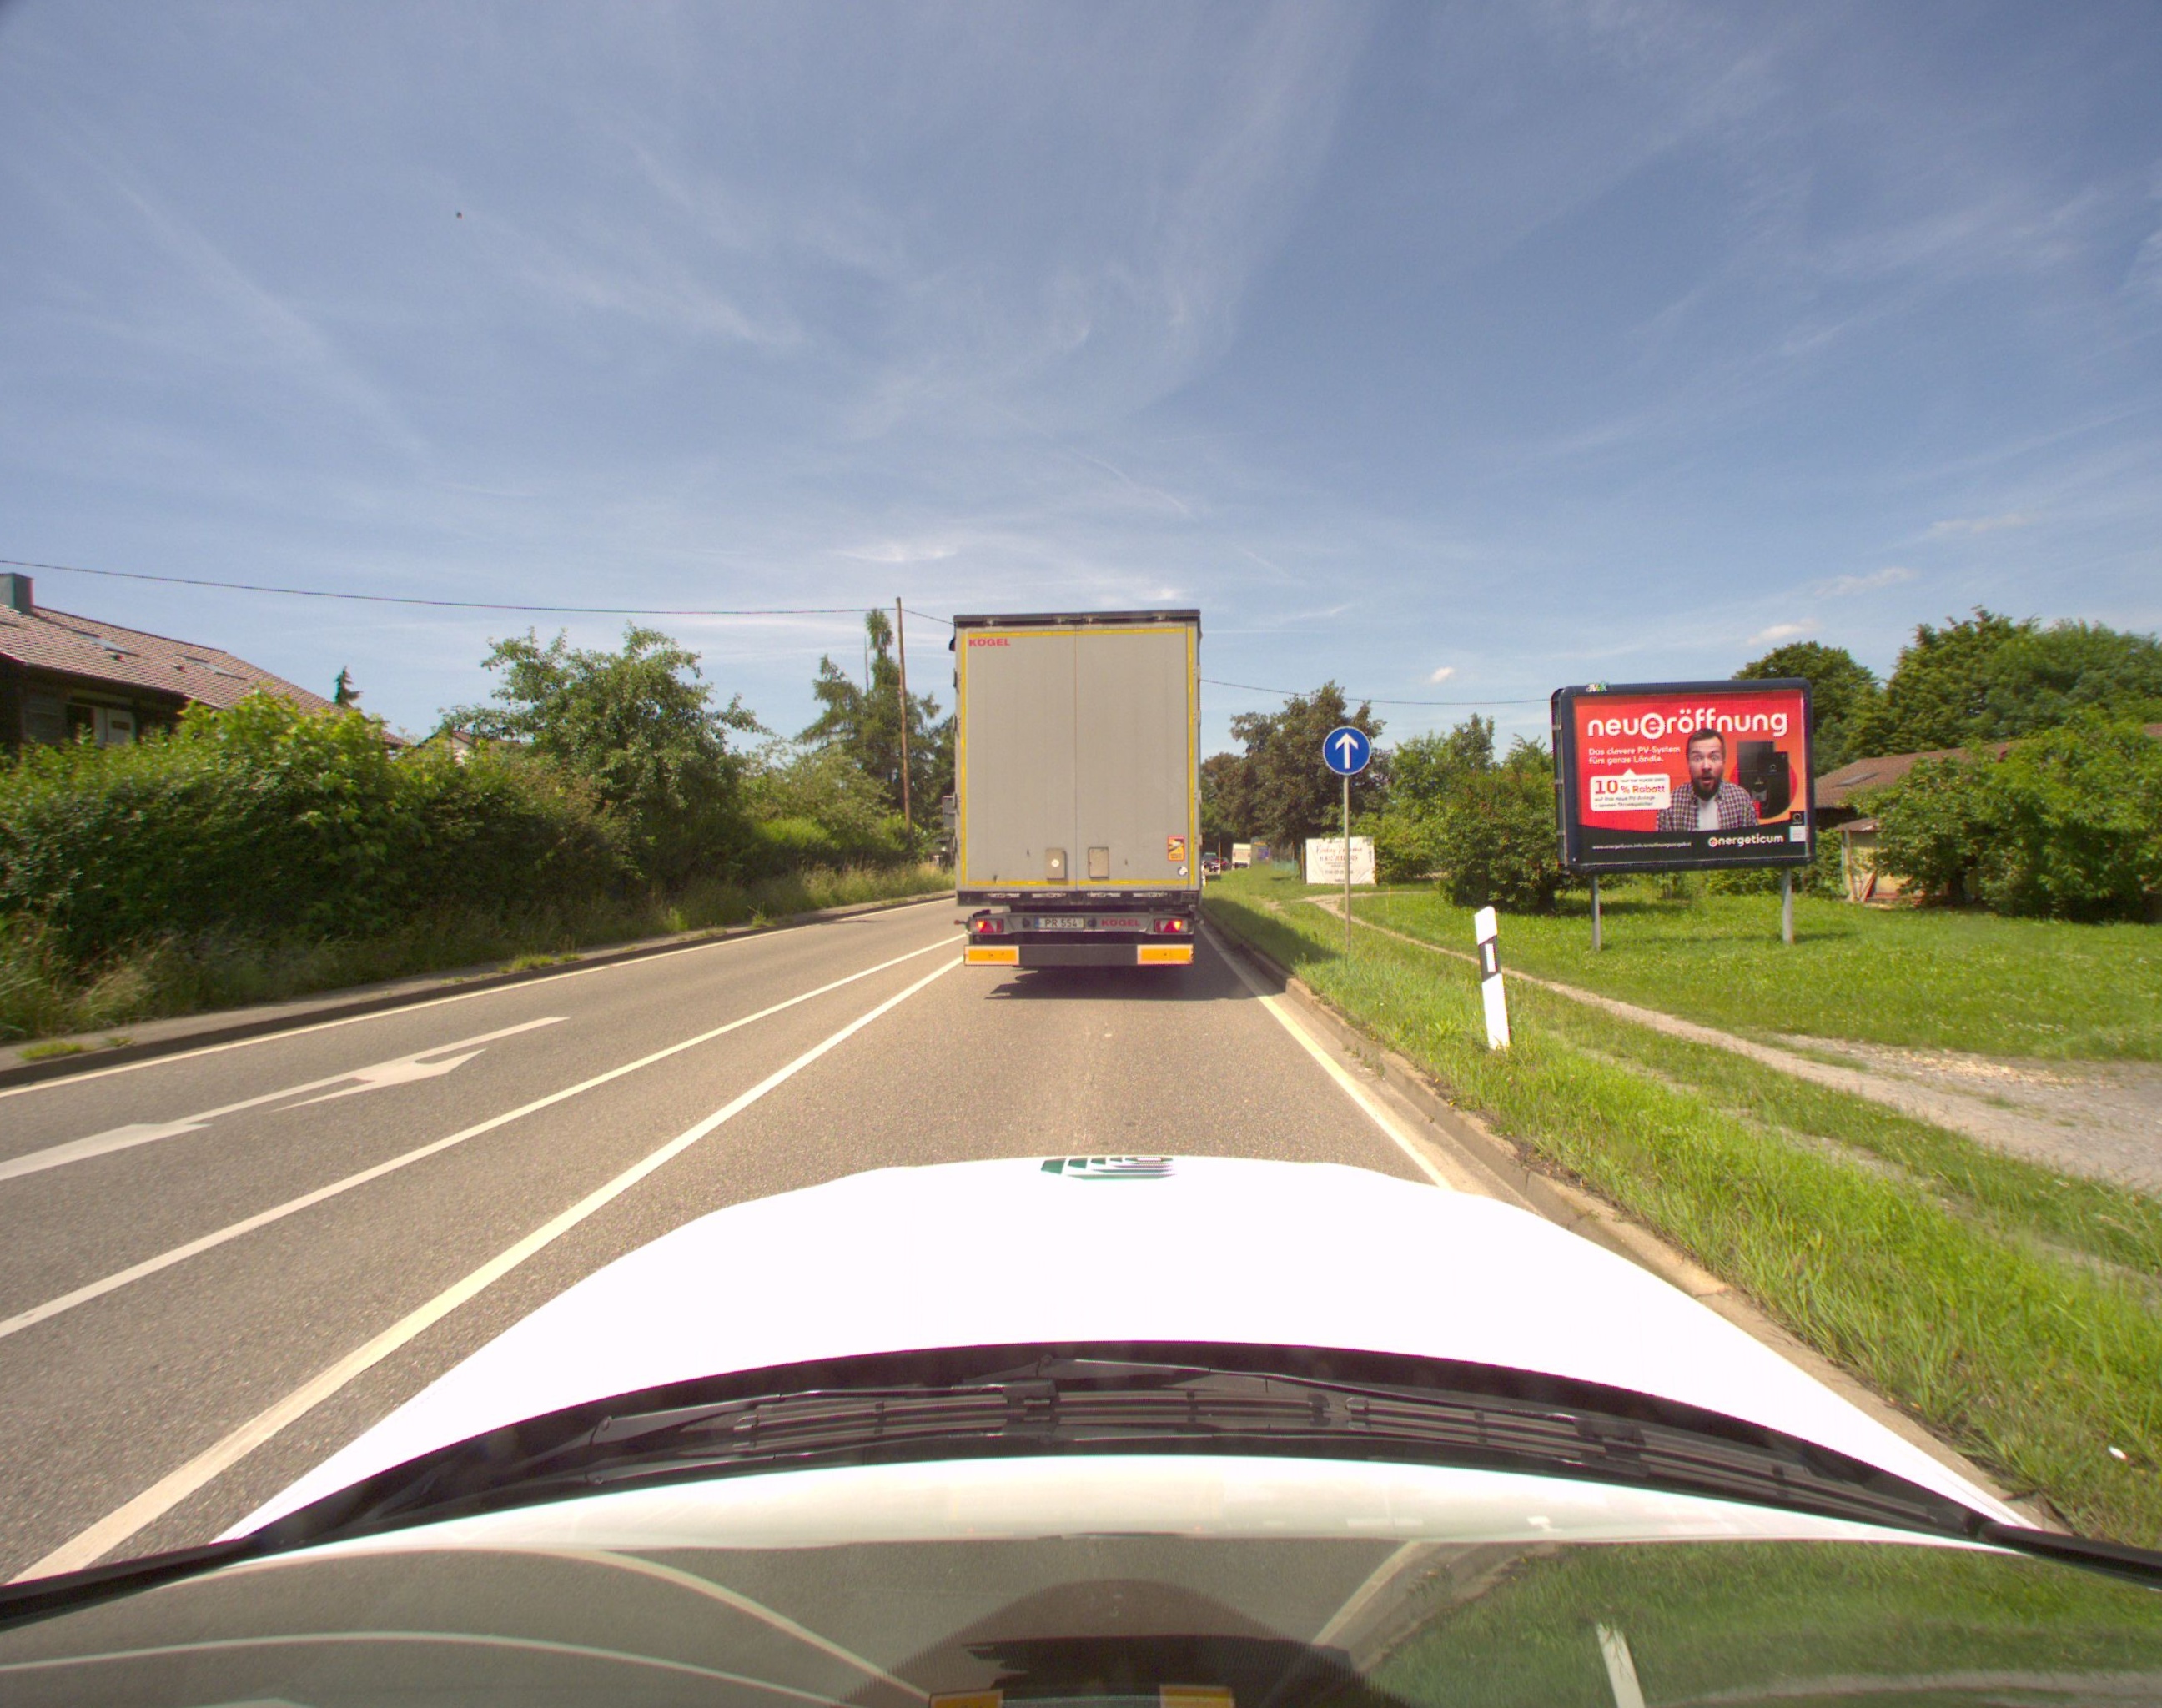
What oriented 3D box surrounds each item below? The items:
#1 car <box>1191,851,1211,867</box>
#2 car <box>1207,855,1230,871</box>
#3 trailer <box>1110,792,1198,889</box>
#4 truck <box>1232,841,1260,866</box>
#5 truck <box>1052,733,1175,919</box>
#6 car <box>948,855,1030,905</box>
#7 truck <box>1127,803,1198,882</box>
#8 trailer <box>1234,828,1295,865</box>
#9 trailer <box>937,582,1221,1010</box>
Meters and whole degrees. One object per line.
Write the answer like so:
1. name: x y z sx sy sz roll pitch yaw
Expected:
1. car: 14.397 0.537 97.388 1.979 1.837 4.016 -1 0 14
2. car: 14.132 0.887 83.477 1.827 1.486 4.018 -1 0 16
3. trailer: 4.348 -0.632 45.058 3.868 4.521 12.746 -1 0 9
4. truck: 19.255 -0.093 94.857 2.400 2.838 5.439 -1 0 20
5. truck: 1.080 -0.650 21.450 2.731 4.165 6.154 -1 0 6
6. car: -2.899 0.779 26.635 1.807 1.417 4.620 -1 0 4
7. truck: 5.308 -0.682 51.657 3.914 4.574 7.170 -1 0 9
8. trailer: 25.176 -1.069 110.847 5.133 4.628 15.984 -1 0 23
9. trailer: 0.434 -0.612 14.130 2.774 4.205 12.126 -1 0 4
